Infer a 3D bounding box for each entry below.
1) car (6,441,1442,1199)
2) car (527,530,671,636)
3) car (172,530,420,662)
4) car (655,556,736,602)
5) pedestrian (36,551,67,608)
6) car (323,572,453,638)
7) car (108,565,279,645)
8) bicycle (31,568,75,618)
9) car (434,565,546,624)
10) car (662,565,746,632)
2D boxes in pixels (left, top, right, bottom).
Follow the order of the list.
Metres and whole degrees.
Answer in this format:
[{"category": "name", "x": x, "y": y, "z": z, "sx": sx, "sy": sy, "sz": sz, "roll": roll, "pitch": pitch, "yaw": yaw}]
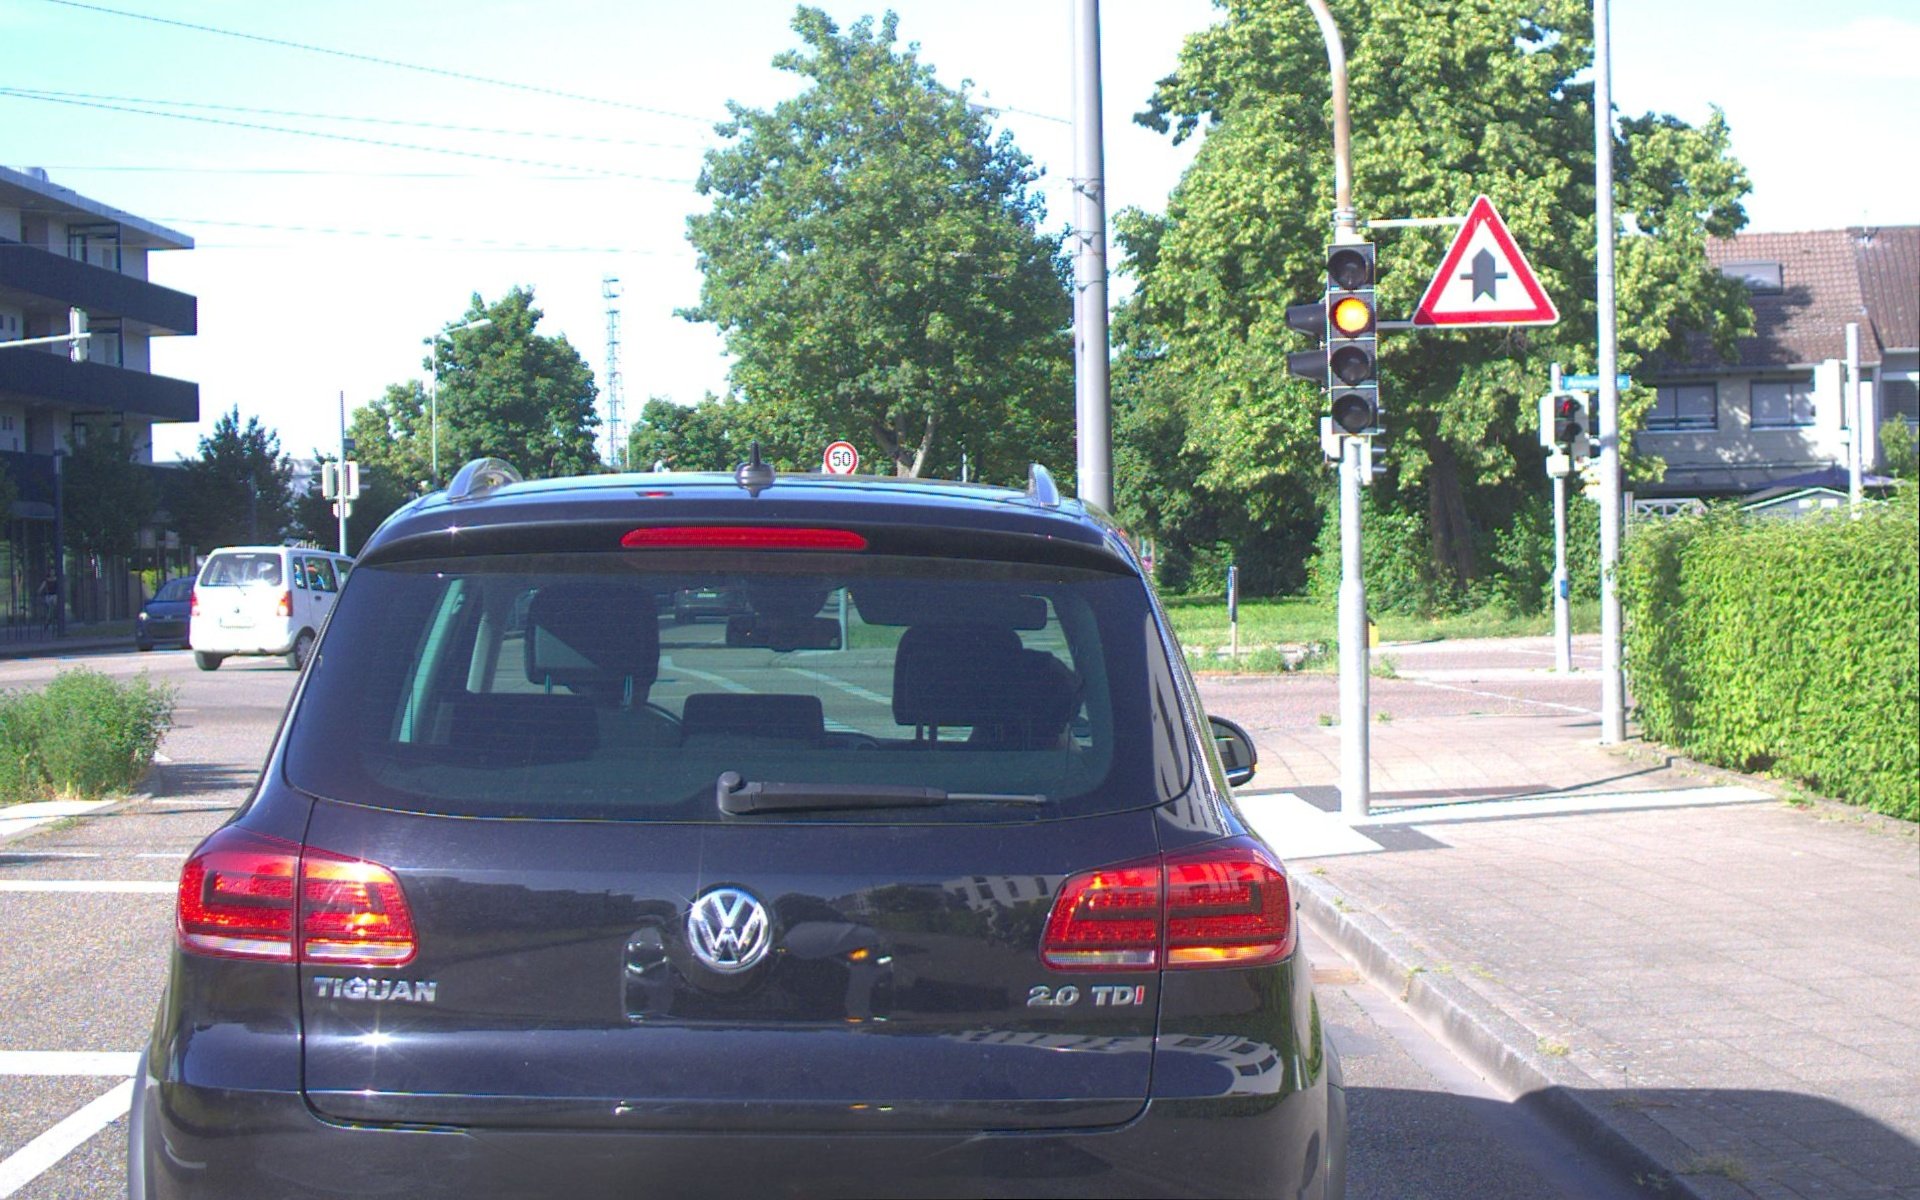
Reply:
[{"category": "car", "x": -0.336, "y": 0.600, "z": 6.508, "sx": 1.869, "sy": 1.632, "sz": 4.000, "roll": 1, "pitch": 1, "yaw": -1}, {"category": "car", "x": -6.505, "y": -0.314, "z": 62.337, "sx": 1.994, "sy": 1.830, "sz": 4.000, "roll": 1, "pitch": 1, "yaw": 3}, {"category": "car", "x": -8.991, "y": -0.085, "z": 46.848, "sx": 1.865, "sy": 1.714, "sz": 3.684, "roll": 0, "pitch": 1, "yaw": 15}, {"category": "car", "x": -9.332, "y": -0.758, "z": 121.595, "sx": 1.994, "sy": 1.569, "sz": 4.338, "roll": 1, "pitch": 1, "yaw": 7}, {"category": "pedestrian", "x": -24.397, "y": -0.556, "z": 92.327, "sx": 0.642, "sy": 1.504, "sz": 0.596, "roll": 1, "pitch": 0, "yaw": 1}, {"category": "car", "x": -14.067, "y": 0.106, "z": 84.740, "sx": 1.994, "sy": 1.569, "sz": 4.338, "roll": 1, "pitch": 1, "yaw": 7}, {"category": "car", "x": -15.869, "y": 0.080, "z": 71.375, "sx": 1.994, "sy": 1.569, "sz": 4.337, "roll": 1, "pitch": 1, "yaw": 9}, {"category": "bicycle", "x": -24.393, "y": -0.202, "z": 92.485, "sx": 0.630, "sy": 1.327, "sz": 1.913, "roll": 1, "pitch": 1, "yaw": 1}, {"category": "car", "x": -12.916, "y": -0.164, "z": 94.659, "sx": 1.994, "sy": 1.569, "sz": 4.338, "roll": 1, "pitch": 1, "yaw": 7}, {"category": "car", "x": -6.694, "y": -0.052, "z": 90.145, "sx": 1.993, "sy": 1.678, "sz": 4.000, "roll": 1, "pitch": 1, "yaw": -2}]
